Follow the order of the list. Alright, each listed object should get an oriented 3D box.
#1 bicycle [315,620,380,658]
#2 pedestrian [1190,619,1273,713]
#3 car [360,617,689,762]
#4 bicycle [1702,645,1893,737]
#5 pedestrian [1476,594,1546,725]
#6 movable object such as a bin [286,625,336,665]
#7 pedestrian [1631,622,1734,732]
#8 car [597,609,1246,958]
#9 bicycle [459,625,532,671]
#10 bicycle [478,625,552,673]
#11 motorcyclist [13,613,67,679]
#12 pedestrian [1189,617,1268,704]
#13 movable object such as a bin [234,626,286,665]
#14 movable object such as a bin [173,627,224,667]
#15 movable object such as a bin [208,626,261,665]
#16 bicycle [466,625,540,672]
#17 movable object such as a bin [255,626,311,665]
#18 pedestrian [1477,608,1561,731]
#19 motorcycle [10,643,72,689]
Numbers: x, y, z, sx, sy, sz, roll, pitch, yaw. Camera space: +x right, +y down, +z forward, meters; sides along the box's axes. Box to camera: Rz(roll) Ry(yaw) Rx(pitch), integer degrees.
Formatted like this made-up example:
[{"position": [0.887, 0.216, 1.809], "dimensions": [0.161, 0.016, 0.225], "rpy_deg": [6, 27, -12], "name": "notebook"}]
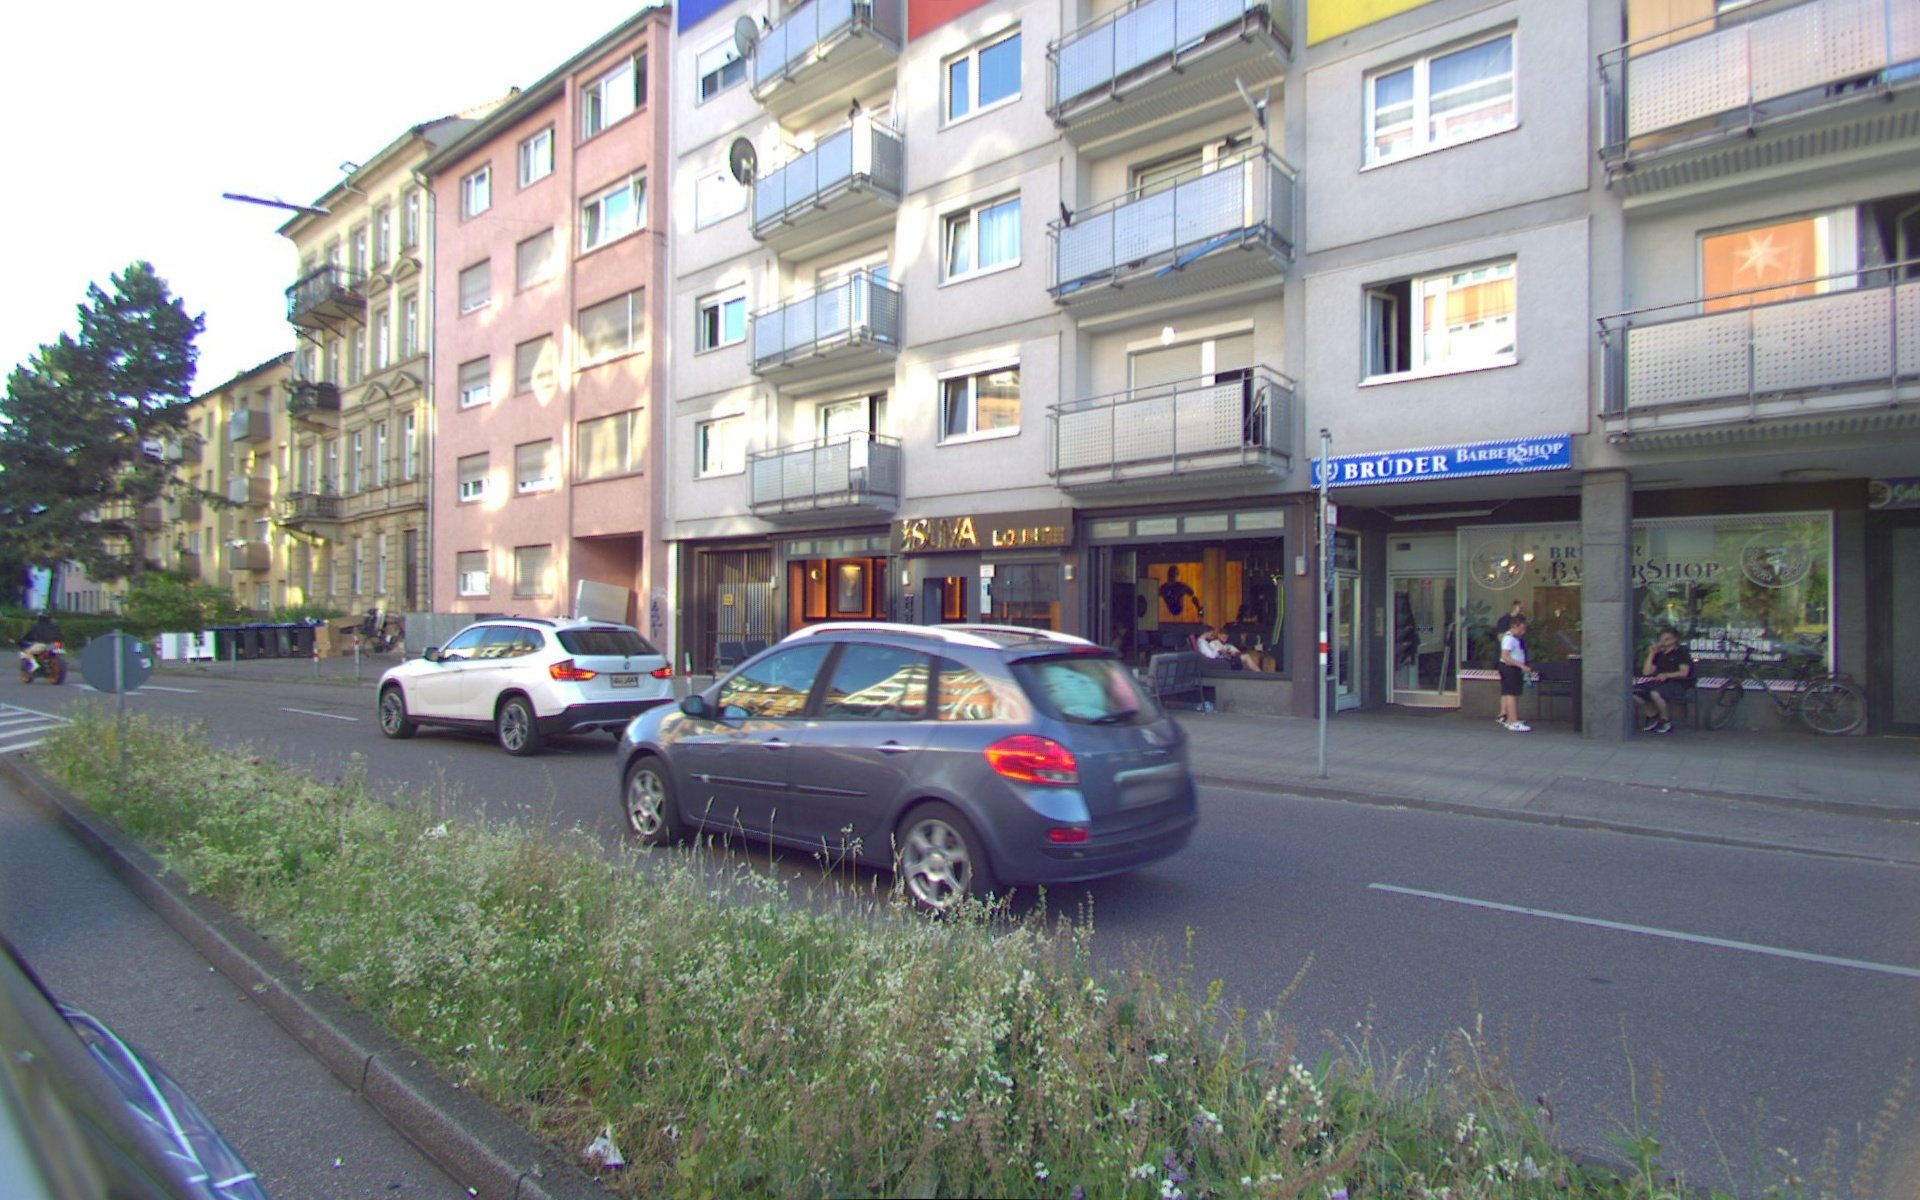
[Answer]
[{"position": [-19.888, 1.250, 32.886], "dimensions": [0.473, 1.200, 1.758], "rpy_deg": [-1, -2, 38], "name": "bicycle"}, {"position": [4.097, 0.968, 15.255], "dimensions": [0.882, 1.357, 0.961], "rpy_deg": [-1, -2, 40], "name": "pedestrian"}, {"position": [-5.438, 0.996, 12.465], "dimensions": [4.238, 1.499, 1.737], "rpy_deg": [-1, -3, 35], "name": "car"}, {"position": [10.090, 1.073, 12.270], "dimensions": [1.691, 1.006, 0.620], "rpy_deg": [0, -1, 32], "name": "bicycle"}, {"position": [7.298, 0.777, 13.429], "dimensions": [0.652, 1.685, 0.623], "rpy_deg": [0, -1, 14], "name": "pedestrian"}, {"position": [-20.837, 1.442, 32.499], "dimensions": [0.837, 1.242, 1.193], "rpy_deg": [0, -1, 0], "name": "movable object such as a bin"}, {"position": [8.912, 0.935, 12.508], "dimensions": [0.798, 1.323, 0.626], "rpy_deg": [0, -1, -3], "name": "pedestrian"}, {"position": [-0.455, 0.846, 6.231], "dimensions": [3.982, 1.482, 1.576], "rpy_deg": [-2, -3, 40], "name": "car"}, {"position": [-12.440, 1.265, 27.158], "dimensions": [0.473, 1.200, 1.758], "rpy_deg": [-1, -2, 38], "name": "bicycle"}, {"position": [-11.509, 1.246, 26.227], "dimensions": [0.473, 1.200, 1.758], "rpy_deg": [-1, -2, 38], "name": "bicycle"}, {"position": [-20.768, 1.036, 22.854], "dimensions": [0.957, 1.452, 0.741], "rpy_deg": [-1, -3, 39], "name": "motorcyclist"}, {"position": [4.399, 0.963, 16.569], "dimensions": [0.974, 1.357, 0.871], "rpy_deg": [-1, -2, 40], "name": "pedestrian"}, {"position": [-22.692, 1.466, 32.834], "dimensions": [0.837, 1.242, 1.193], "rpy_deg": [0, -1, 0], "name": "movable object such as a bin"}, {"position": [-24.486, 1.489, 32.560], "dimensions": [0.836, 1.242, 1.195], "rpy_deg": [0, -1, -8], "name": "movable object such as a bin"}, {"position": [-23.562, 1.477, 32.892], "dimensions": [0.837, 1.242, 1.193], "rpy_deg": [0, -1, 0], "name": "movable object such as a bin"}, {"position": [-12.052, 1.260, 26.721], "dimensions": [0.473, 1.200, 1.758], "rpy_deg": [-1, -2, 38], "name": "bicycle"}, {"position": [-21.765, 1.452, 32.549], "dimensions": [0.916, 1.242, 1.292], "rpy_deg": [0, -1, 0], "name": "movable object such as a bin"}, {"position": [6.938, 0.845, 12.571], "dimensions": [0.647, 1.478, 0.627], "rpy_deg": [1, -1, -23], "name": "pedestrian"}, {"position": [-20.768, 1.475, 22.856], "dimensions": [2.046, 0.970, 0.741], "rpy_deg": [-1, -2, 40], "name": "motorcycle"}]
